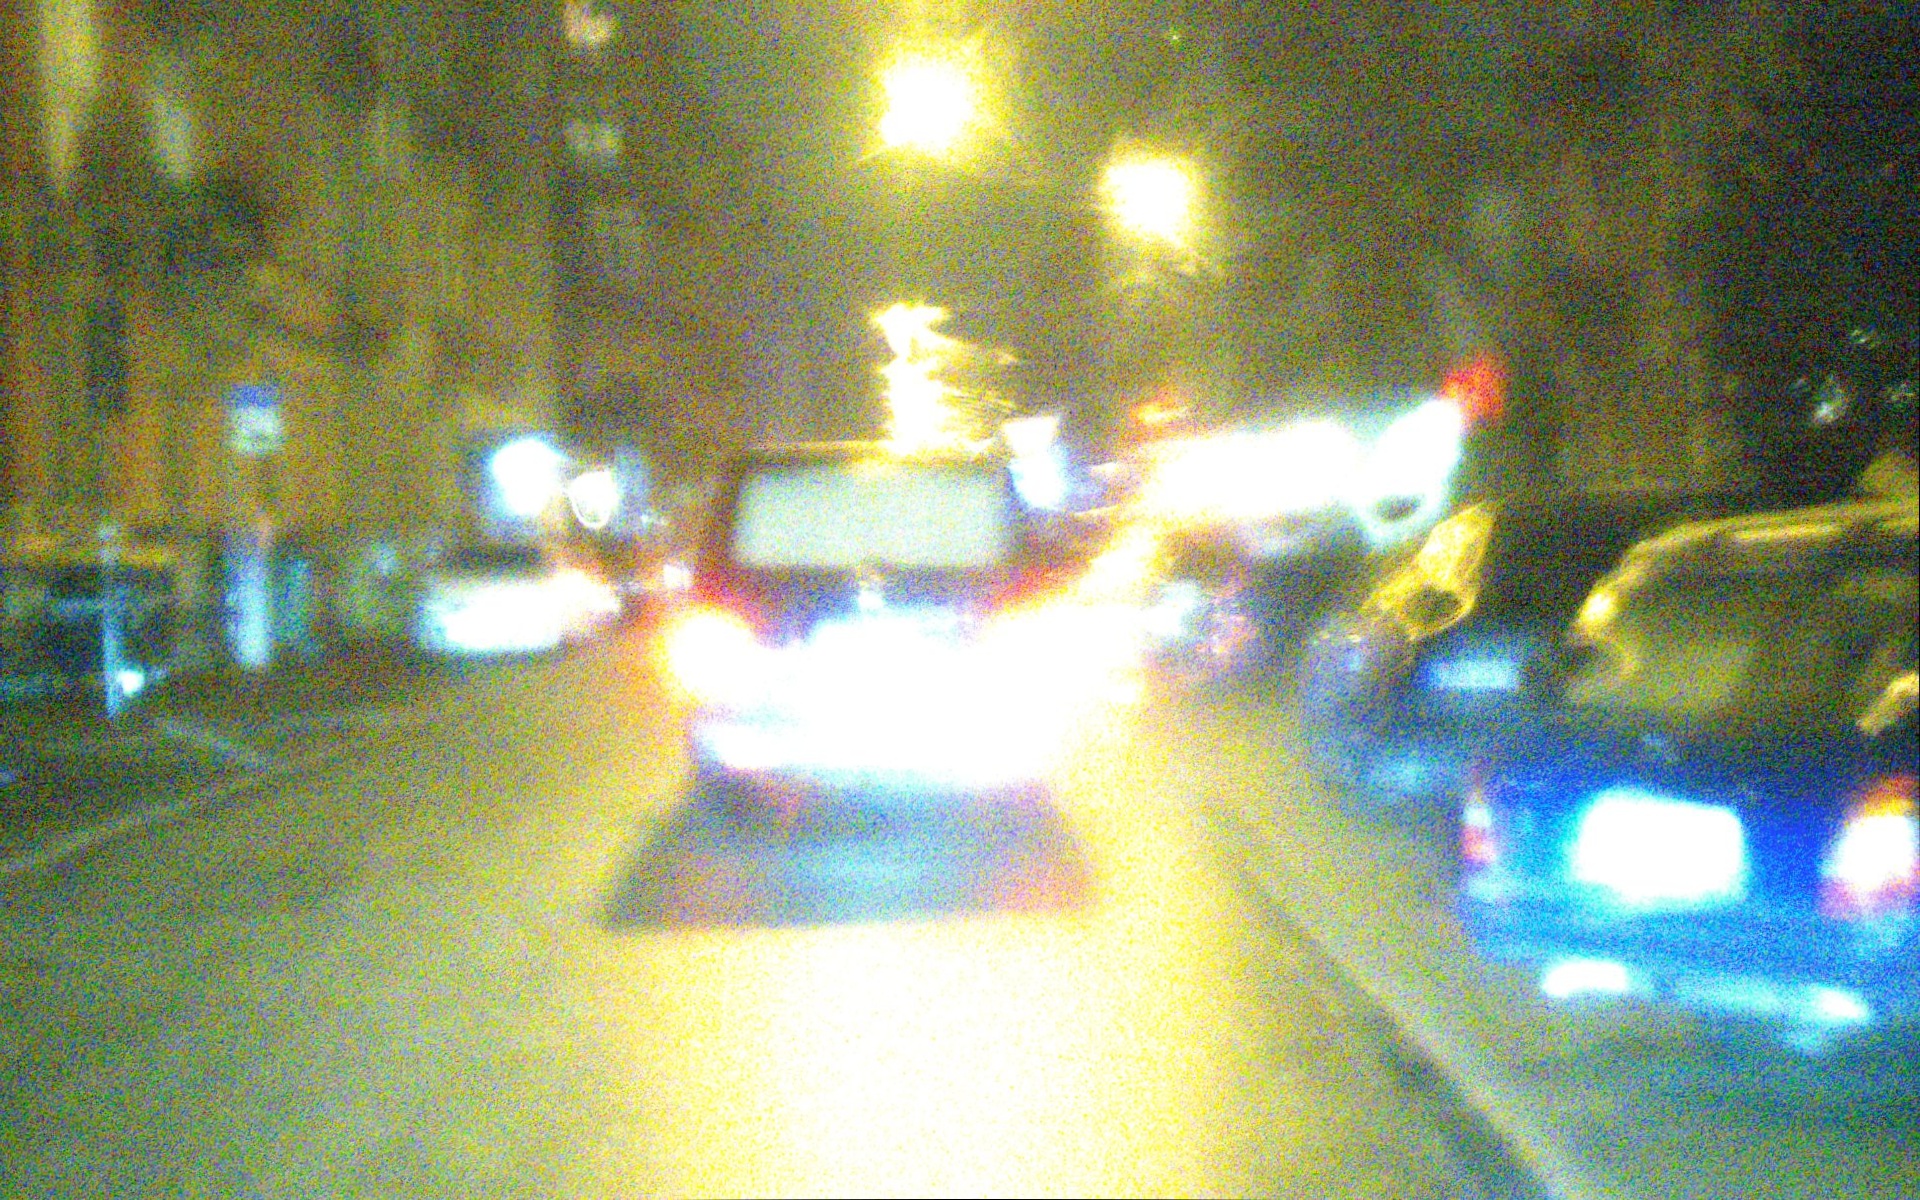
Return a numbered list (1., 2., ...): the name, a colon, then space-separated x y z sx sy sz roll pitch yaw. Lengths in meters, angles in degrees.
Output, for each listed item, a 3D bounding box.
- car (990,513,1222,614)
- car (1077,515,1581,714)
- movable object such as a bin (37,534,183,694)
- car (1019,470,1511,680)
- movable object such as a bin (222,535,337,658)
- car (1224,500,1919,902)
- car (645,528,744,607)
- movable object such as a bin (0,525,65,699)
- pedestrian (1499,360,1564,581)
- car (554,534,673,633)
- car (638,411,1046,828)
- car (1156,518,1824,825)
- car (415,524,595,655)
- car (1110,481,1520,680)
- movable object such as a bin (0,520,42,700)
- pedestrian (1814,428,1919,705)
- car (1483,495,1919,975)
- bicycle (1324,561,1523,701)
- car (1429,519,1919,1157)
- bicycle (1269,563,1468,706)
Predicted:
1. car: 2.391 -0.585 56.023 3.554 1.585 1.605 -1 0 -37
2. car: 3.216 0.100 29.885 3.987 1.487 1.735 -3 1 -26
3. movable object such as a bin: -7.641 0.114 30.953 0.975 1.393 1.133 1 1 2
4. car: 3.192 -0.307 35.703 4.784 2.042 2.067 -1 2 -31
5. movable object such as a bin: -7.918 -0.052 40.038 1.048 1.393 1.158 1 1 2
6. car: 3.045 0.353 15.262 3.643 1.575 1.592 -1 2 -39
7. car: -5.805 -0.736 75.547 1.883 1.679 4.000 0 1 0
8. movable object such as a bin: -8.165 0.080 28.803 0.975 1.415 1.133 1 1 2
9. pedestrian: 9.144 -2.065 55.040 0.891 3.515 0.791 0 1 0
10. car: -5.619 -0.298 56.134 1.812 1.552 4.077 0 1 -4
11. car: -0.594 0.083 18.885 1.993 2.043 4.000 0 0 0
12. car: 3.035 0.353 19.443 3.642 1.575 1.592 0 1 -36
13. car: -5.345 -0.155 40.760 1.587 1.477 3.793 0 1 1
14. car: 3.420 -0.205 33.018 3.554 1.705 1.646 -3 1 -29
15. movable object such as a bin: -8.017 0.062 27.516 0.975 1.415 1.133 1 1 2
16. pedestrian: 6.502 -0.246 23.700 0.868 1.849 0.993 -3 1 -3
17. car: 3.910 0.402 12.841 3.641 1.575 1.593 -1 1 -28
18. bicycle: 3.698 0.236 27.570 0.518 1.072 1.827 -3 2 -31
19. car: 3.239 0.487 9.605 3.672 1.455 1.604 -3 1 -35
20. bicycle: 3.224 0.262 27.275 0.518 1.072 1.827 -3 2 -31
